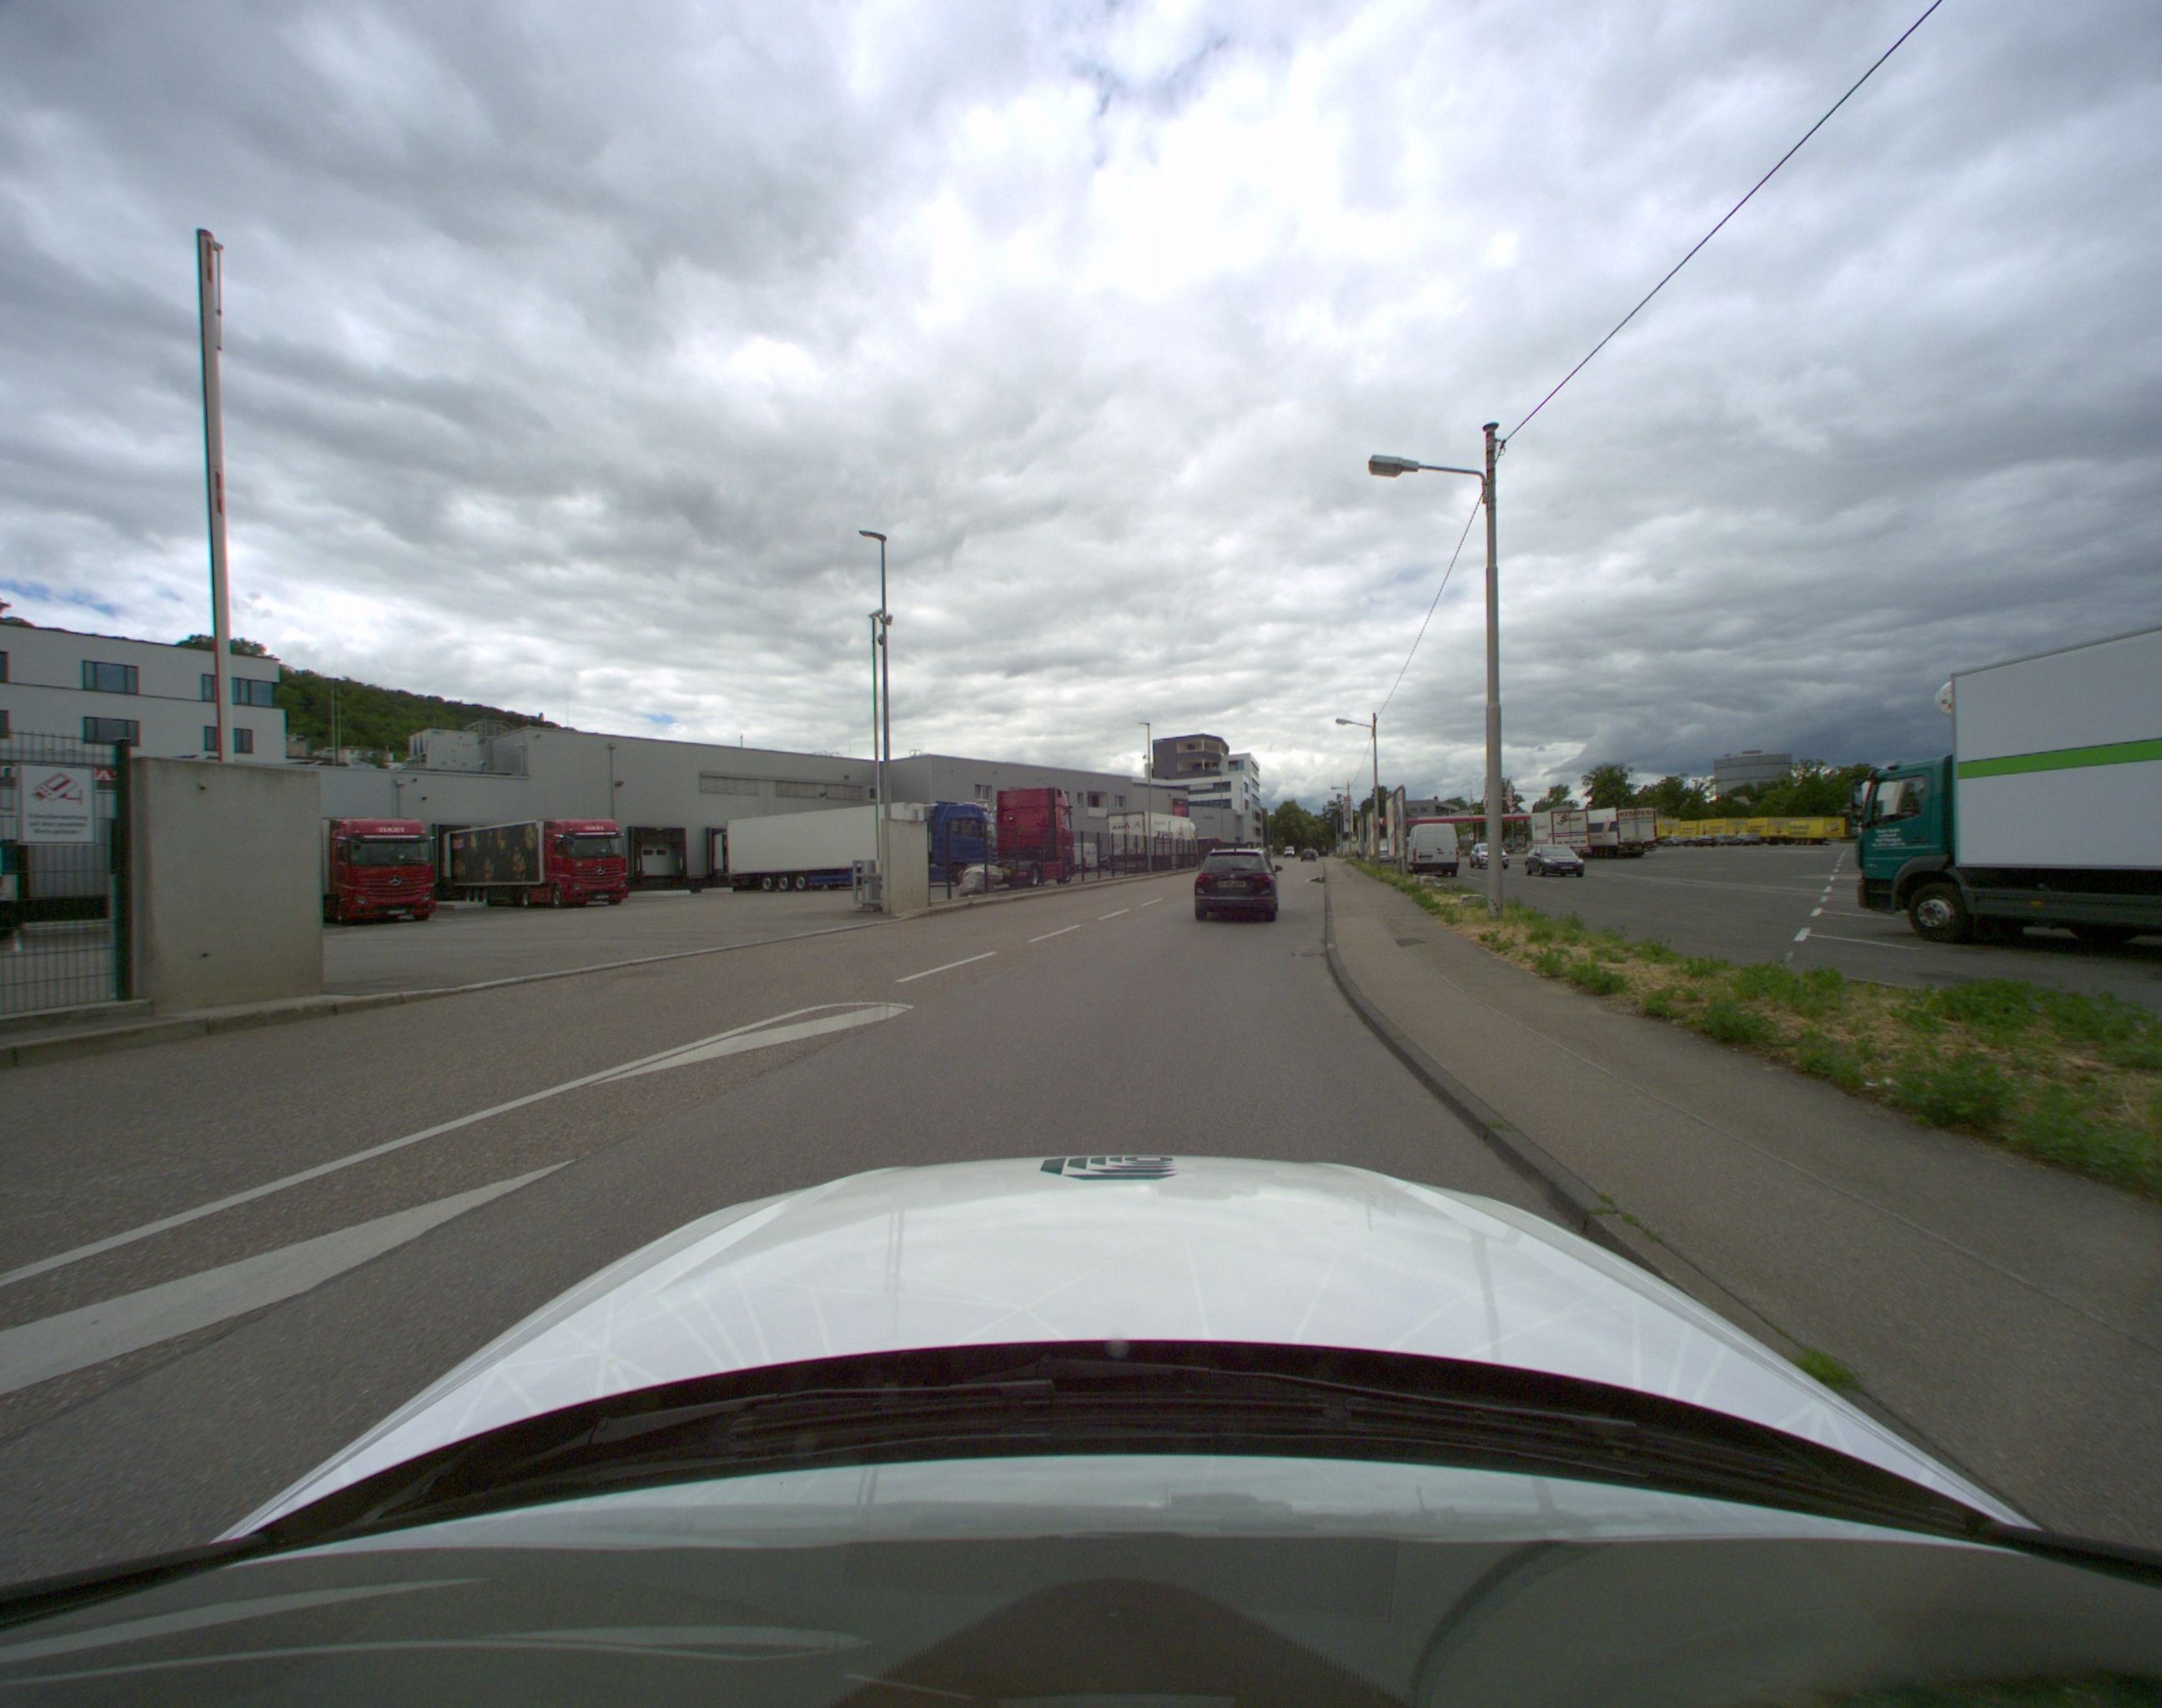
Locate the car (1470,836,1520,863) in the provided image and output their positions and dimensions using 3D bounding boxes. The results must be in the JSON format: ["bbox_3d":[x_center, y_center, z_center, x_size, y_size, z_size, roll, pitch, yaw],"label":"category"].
[{"bbox_3d":[26.110,-0.262,51.502,1.875,1.612,4.446,-1,0,15],"label":"car"}]

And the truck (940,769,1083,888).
[{"bbox_3d":[-2.410,-0.856,31.308,2.898,4.020,6.974,-1,0,18],"label":"truck"}]

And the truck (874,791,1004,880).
[{"bbox_3d":[-6.773,-0.857,39.400,5.574,4.020,2.933,-1,0,2],"label":"truck"}]

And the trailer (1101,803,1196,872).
[{"bbox_3d":[5.328,-1.085,59.779,3.107,4.261,14.088,-6,-2,19],"label":"trailer"}]

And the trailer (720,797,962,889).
[{"bbox_3d":[-12.760,-0.380,42.340,13.840,4.183,3.055,-2,0,28],"label":"trailer"}]

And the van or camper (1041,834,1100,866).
[{"bbox_3d":[-0.949,-0.328,72.933,4.923,2.762,2.117,-2,-1,35],"label":"van or camper"}]

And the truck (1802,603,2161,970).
[{"bbox_3d":[12.710,-0.699,8.020,2.963,3.830,10.453,0,1,6],"label":"truck"}]

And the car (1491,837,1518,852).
[{"bbox_3d":[49.819,-1.078,95.882,1.979,1.706,4.016,-2,0,15],"label":"car"}]

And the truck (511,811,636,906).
[{"bbox_3d":[-22.934,0.251,36.725,5.848,3.928,2.820,-2,-1,37],"label":"truck"}]

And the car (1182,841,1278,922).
[{"bbox_3d":[3.712,0.543,19.686,1.979,1.683,4.389,0,1,14],"label":"car"}]

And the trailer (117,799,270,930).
[{"bbox_3d":[-34.115,0.473,31.113,11.036,4.301,2.810,-2,-1,37],"label":"trailer"}]

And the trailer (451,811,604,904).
[{"bbox_3d":[-27.569,0.283,40.268,10.853,4.078,2.810,-2,-1,37],"label":"trailer"}]

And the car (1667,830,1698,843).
[{"bbox_3d":[78.691,-2.304,106.569,1.978,1.618,3.962,-2,1,17],"label":"car"}]

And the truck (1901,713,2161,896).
[{"bbox_3d":[25.065,-1.098,19.198,3.056,4.002,8.027,-1,-1,-3],"label":"truck"}]

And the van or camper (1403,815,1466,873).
[{"bbox_3d":[17.440,-0.462,40.509,2.238,2.647,6.142,-2,0,18],"label":"van or camper"}]

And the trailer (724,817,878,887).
[{"bbox_3d":[-18.431,-0.009,52.746,12.923,4.107,2.802,-2,0,38],"label":"trailer"}]

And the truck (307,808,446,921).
[{"bbox_3d":[-27.139,0.431,31.298,5.848,3.928,2.820,-2,-1,37],"label":"truck"}]

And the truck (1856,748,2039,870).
[{"bbox_3d":[32.609,-1.623,30.877,2.687,4.212,4.083,-2,1,5],"label":"truck"}]

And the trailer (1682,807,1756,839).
[{"bbox_3d":[91.930,-4.382,117.740,2.847,4.150,14.989,-2,1,16],"label":"trailer"}]

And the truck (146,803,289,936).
[{"bbox_3d":[-28.814,0.502,27.168,4.111,4.040,2.820,-2,-1,37],"label":"truck"}]

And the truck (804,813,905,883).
[{"bbox_3d":[-13.676,-0.294,48.989,5.848,3.928,2.820,-2,0,38],"label":"truck"}]

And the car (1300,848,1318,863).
[{"bbox_3d":[28.256,0.182,100.910,1.978,1.749,4.017,-2,1,16],"label":"car"}]

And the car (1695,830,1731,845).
[{"bbox_3d":[73.203,-1.899,94.442,1.978,1.618,4.018,-2,0,17],"label":"car"}]

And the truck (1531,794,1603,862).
[{"bbox_3d":[39.604,-2.034,66.741,3.280,5.093,8.555,-2,0,19],"label":"truck"}]

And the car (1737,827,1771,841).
[{"bbox_3d":[85.499,-2.530,103.537,1.978,1.618,4.018,-2,0,17],"label":"car"}]

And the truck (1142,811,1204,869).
[{"bbox_3d":[7.550,-1.076,65.971,3.102,4.117,6.976,-6,-2,20],"label":"truck"}]

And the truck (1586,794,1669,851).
[{"bbox_3d":[43.283,-2.390,64.851,3.280,4.145,8.555,-2,0,19],"label":"truck"}]

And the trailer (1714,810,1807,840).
[{"bbox_3d":[96.496,-4.044,116.217,3.569,3.863,18.112,-2,1,18],"label":"trailer"}]

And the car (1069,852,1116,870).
[{"bbox_3d":[1.111,0.642,76.859,3.948,1.552,2.013,-2,0,36],"label":"car"}]

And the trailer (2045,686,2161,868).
[{"bbox_3d":[25.401,-1.678,13.399,3.047,3.976,13.087,-2,1,-3],"label":"trailer"}]

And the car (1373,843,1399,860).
[{"bbox_3d":[26.291,-0.220,70.228,1.875,1.445,4.448,1,0,17],"label":"car"}]

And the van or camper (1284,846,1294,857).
[{"bbox_3d":[44.444,-0.495,173.964,1.978,2.256,4.018,-1,0,17],"label":"van or camper"}]

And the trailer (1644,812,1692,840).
[{"bbox_3d":[83.201,-3.948,115.613,2.990,3.693,7.524,-2,1,16],"label":"trailer"}]

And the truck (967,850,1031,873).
[{"bbox_3d":[-6.572,0.602,64.980,4.865,1.652,2.242,-2,0,37],"label":"truck"}]

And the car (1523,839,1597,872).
[{"bbox_3d":[22.369,0.076,38.199,1.876,1.445,4.446,1,0,15],"label":"car"}]

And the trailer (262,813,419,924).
[{"bbox_3d":[-31.515,0.655,34.437,10.853,4.078,2.810,-2,-1,37],"label":"trailer"}]

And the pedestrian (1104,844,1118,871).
[{"bbox_3d":[2.153,0.244,57.798,0.692,1.829,0.828,-1,0,21],"label":"pedestrian"}]

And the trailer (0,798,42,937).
[{"bbox_3d":[-36.830,0.542,26.687,11.261,4.078,3.111,-2,-1,37],"label":"trailer"}]

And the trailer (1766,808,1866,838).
[{"bbox_3d":[106.624,-4.393,118.780,3.569,3.863,18.112,-2,1,18],"label":"trailer"}]
